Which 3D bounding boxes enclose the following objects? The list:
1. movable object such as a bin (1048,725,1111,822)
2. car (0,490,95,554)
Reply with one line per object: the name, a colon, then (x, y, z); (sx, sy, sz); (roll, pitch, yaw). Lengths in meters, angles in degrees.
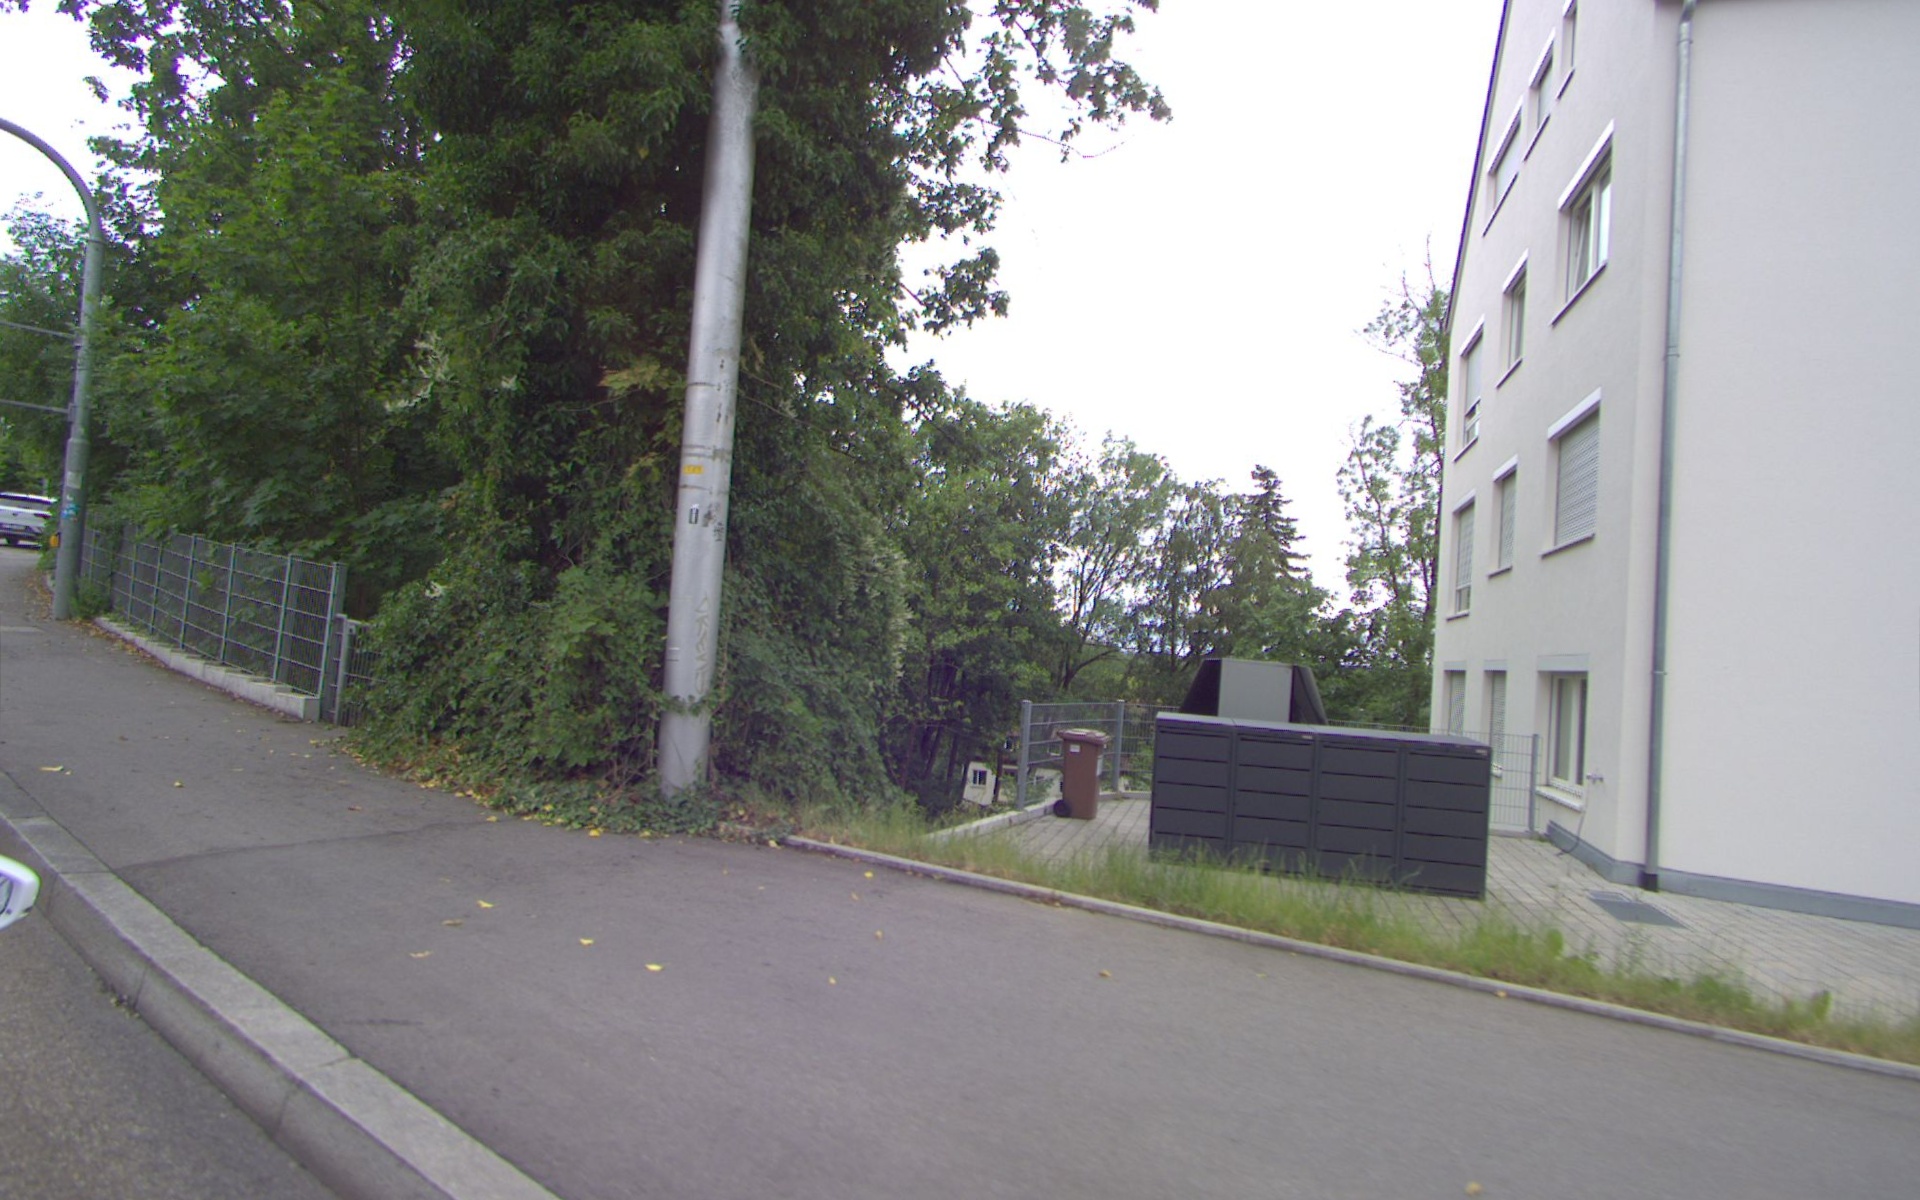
movable object such as a bin: (1.287, 1.849, 10.808); (0.491, 0.934, 0.383); (7, -1, 19)
car: (-27.909, -2.340, 30.324); (1.766, 1.597, 3.973); (8, -2, -28)
